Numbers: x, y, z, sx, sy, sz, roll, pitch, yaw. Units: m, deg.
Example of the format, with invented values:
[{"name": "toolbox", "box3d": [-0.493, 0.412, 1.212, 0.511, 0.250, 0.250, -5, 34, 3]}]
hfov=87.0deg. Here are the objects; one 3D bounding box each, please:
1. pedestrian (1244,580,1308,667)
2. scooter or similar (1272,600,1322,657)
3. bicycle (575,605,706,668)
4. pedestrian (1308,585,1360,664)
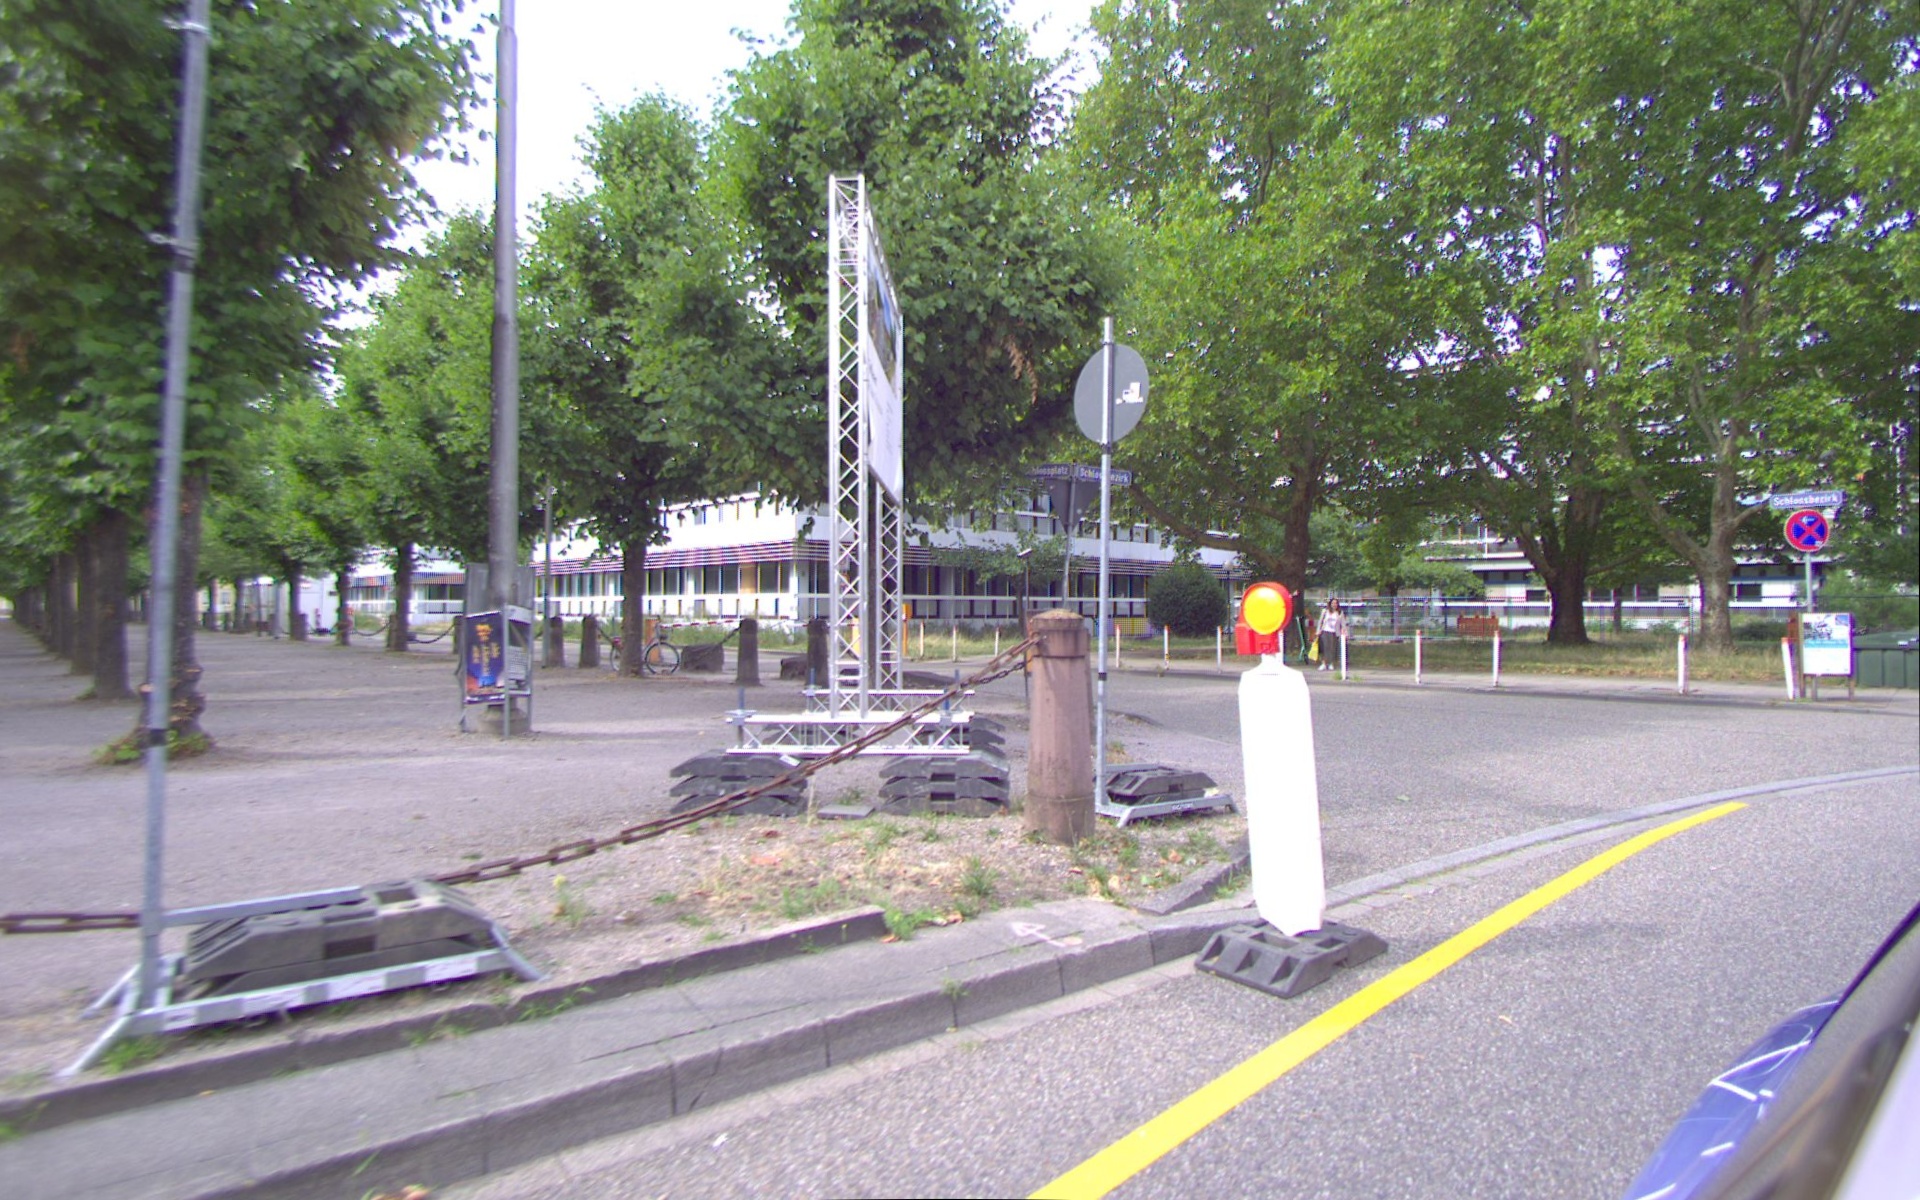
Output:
[{"name": "pedestrian", "box3d": [6.646, 0.487, 21.248, 0.957, 1.764, 1.240, 1, -2, 34]}, {"name": "scooter or similar", "box3d": [7.846, 0.668, 23.549, 0.568, 1.285, 1.432, 0, -2, 41]}, {"name": "bicycle", "box3d": [-6.283, 0.700, 19.882, 2.556, 1.124, 0.945, 1, -2, 29]}, {"name": "pedestrian", "box3d": [8.068, 0.521, 21.832, 0.891, 1.662, 0.843, 1, -2, 31]}]
